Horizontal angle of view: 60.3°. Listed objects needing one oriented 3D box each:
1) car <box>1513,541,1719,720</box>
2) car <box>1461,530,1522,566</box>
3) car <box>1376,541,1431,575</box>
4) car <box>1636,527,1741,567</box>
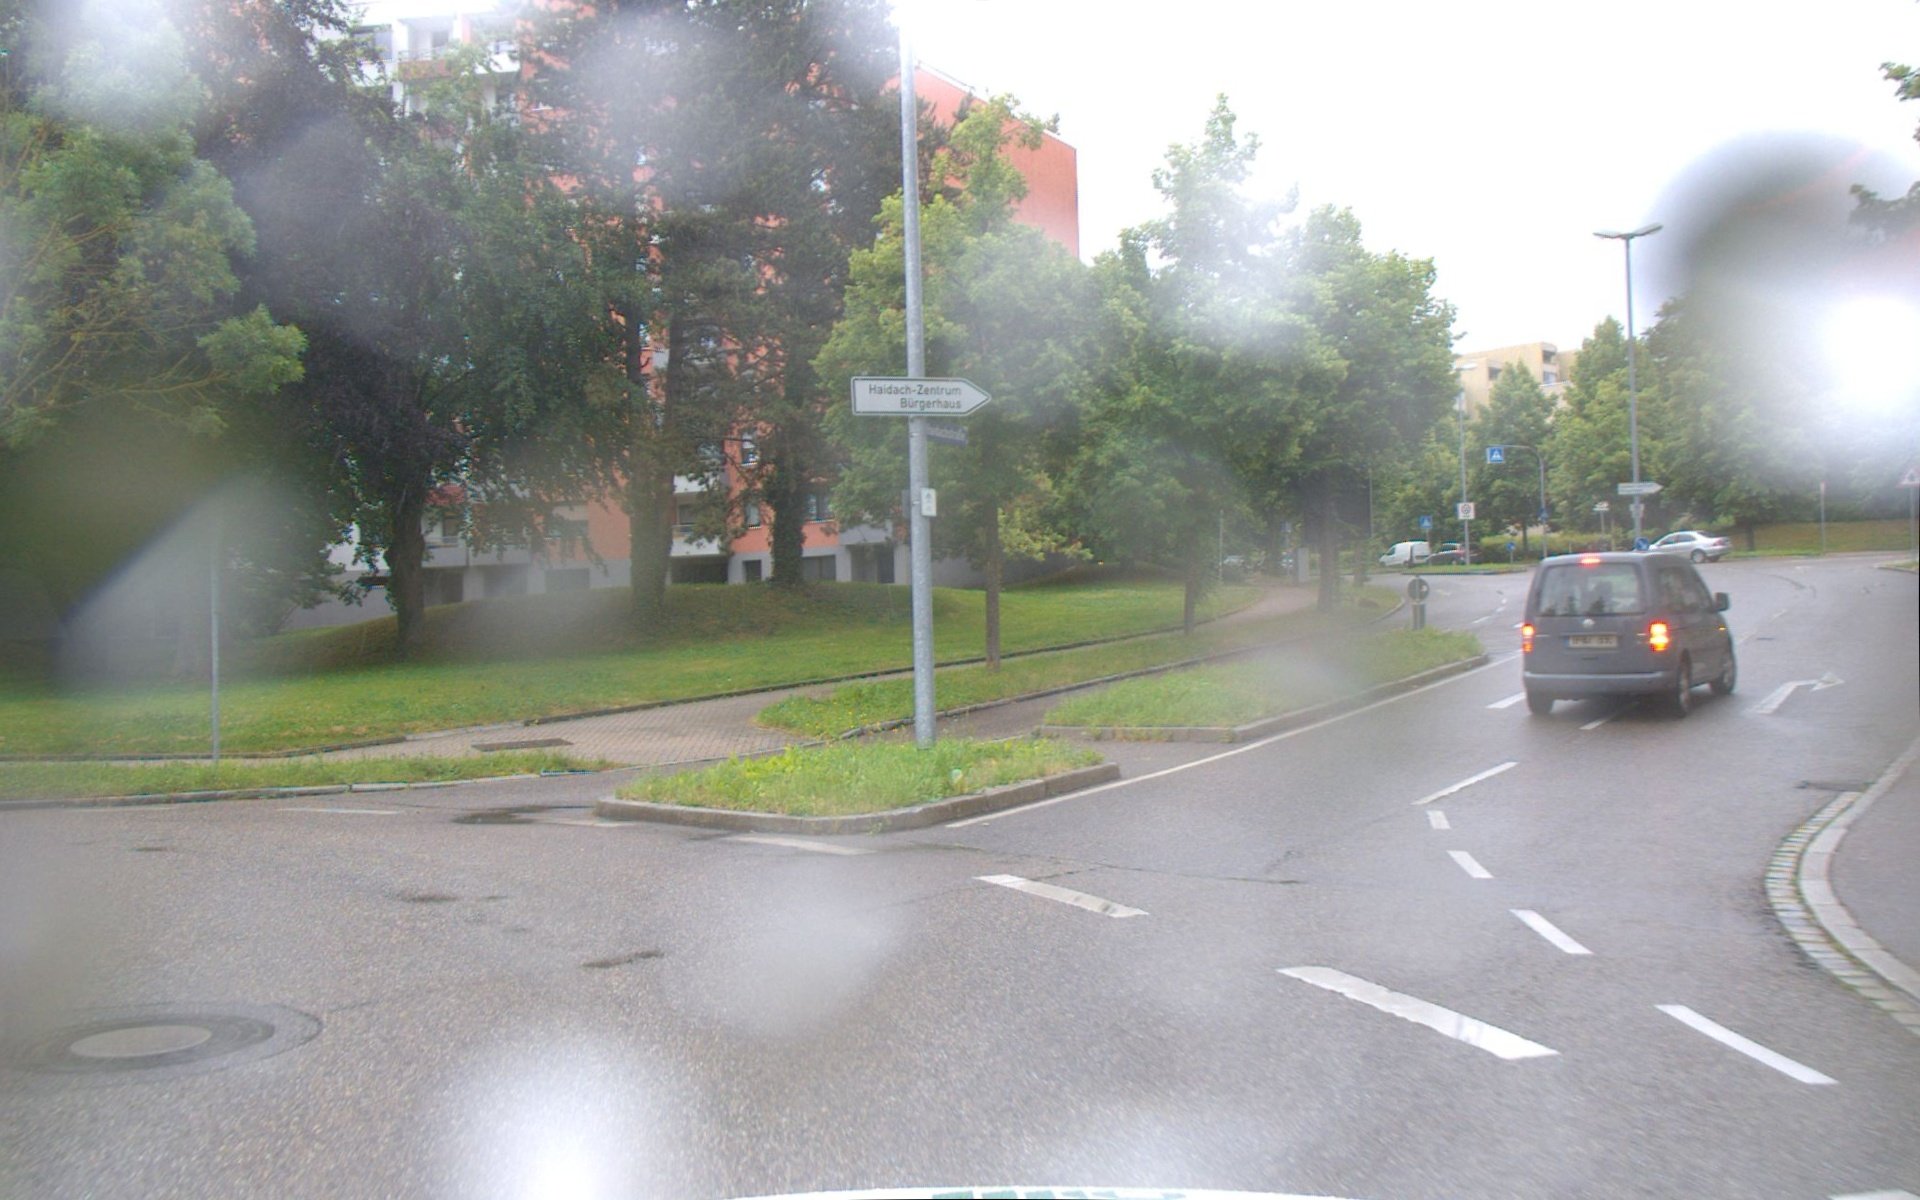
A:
[{"bbox_3d":[7.918,0.296,19.767,1.881,1.832,3.787,-3,2,27],"label":"car"},{"bbox_3d":[31.380,-3.036,97.746,1.812,1.906,3.853,-2,-1,-9],"label":"car"},{"bbox_3d":[28.475,-2.678,106.260,1.956,1.906,3.993,-2,-1,-8],"label":"car"},{"bbox_3d":[33.404,-2.402,75.901,1.871,1.593,3.937,-1,-1,-43],"label":"car"}]
